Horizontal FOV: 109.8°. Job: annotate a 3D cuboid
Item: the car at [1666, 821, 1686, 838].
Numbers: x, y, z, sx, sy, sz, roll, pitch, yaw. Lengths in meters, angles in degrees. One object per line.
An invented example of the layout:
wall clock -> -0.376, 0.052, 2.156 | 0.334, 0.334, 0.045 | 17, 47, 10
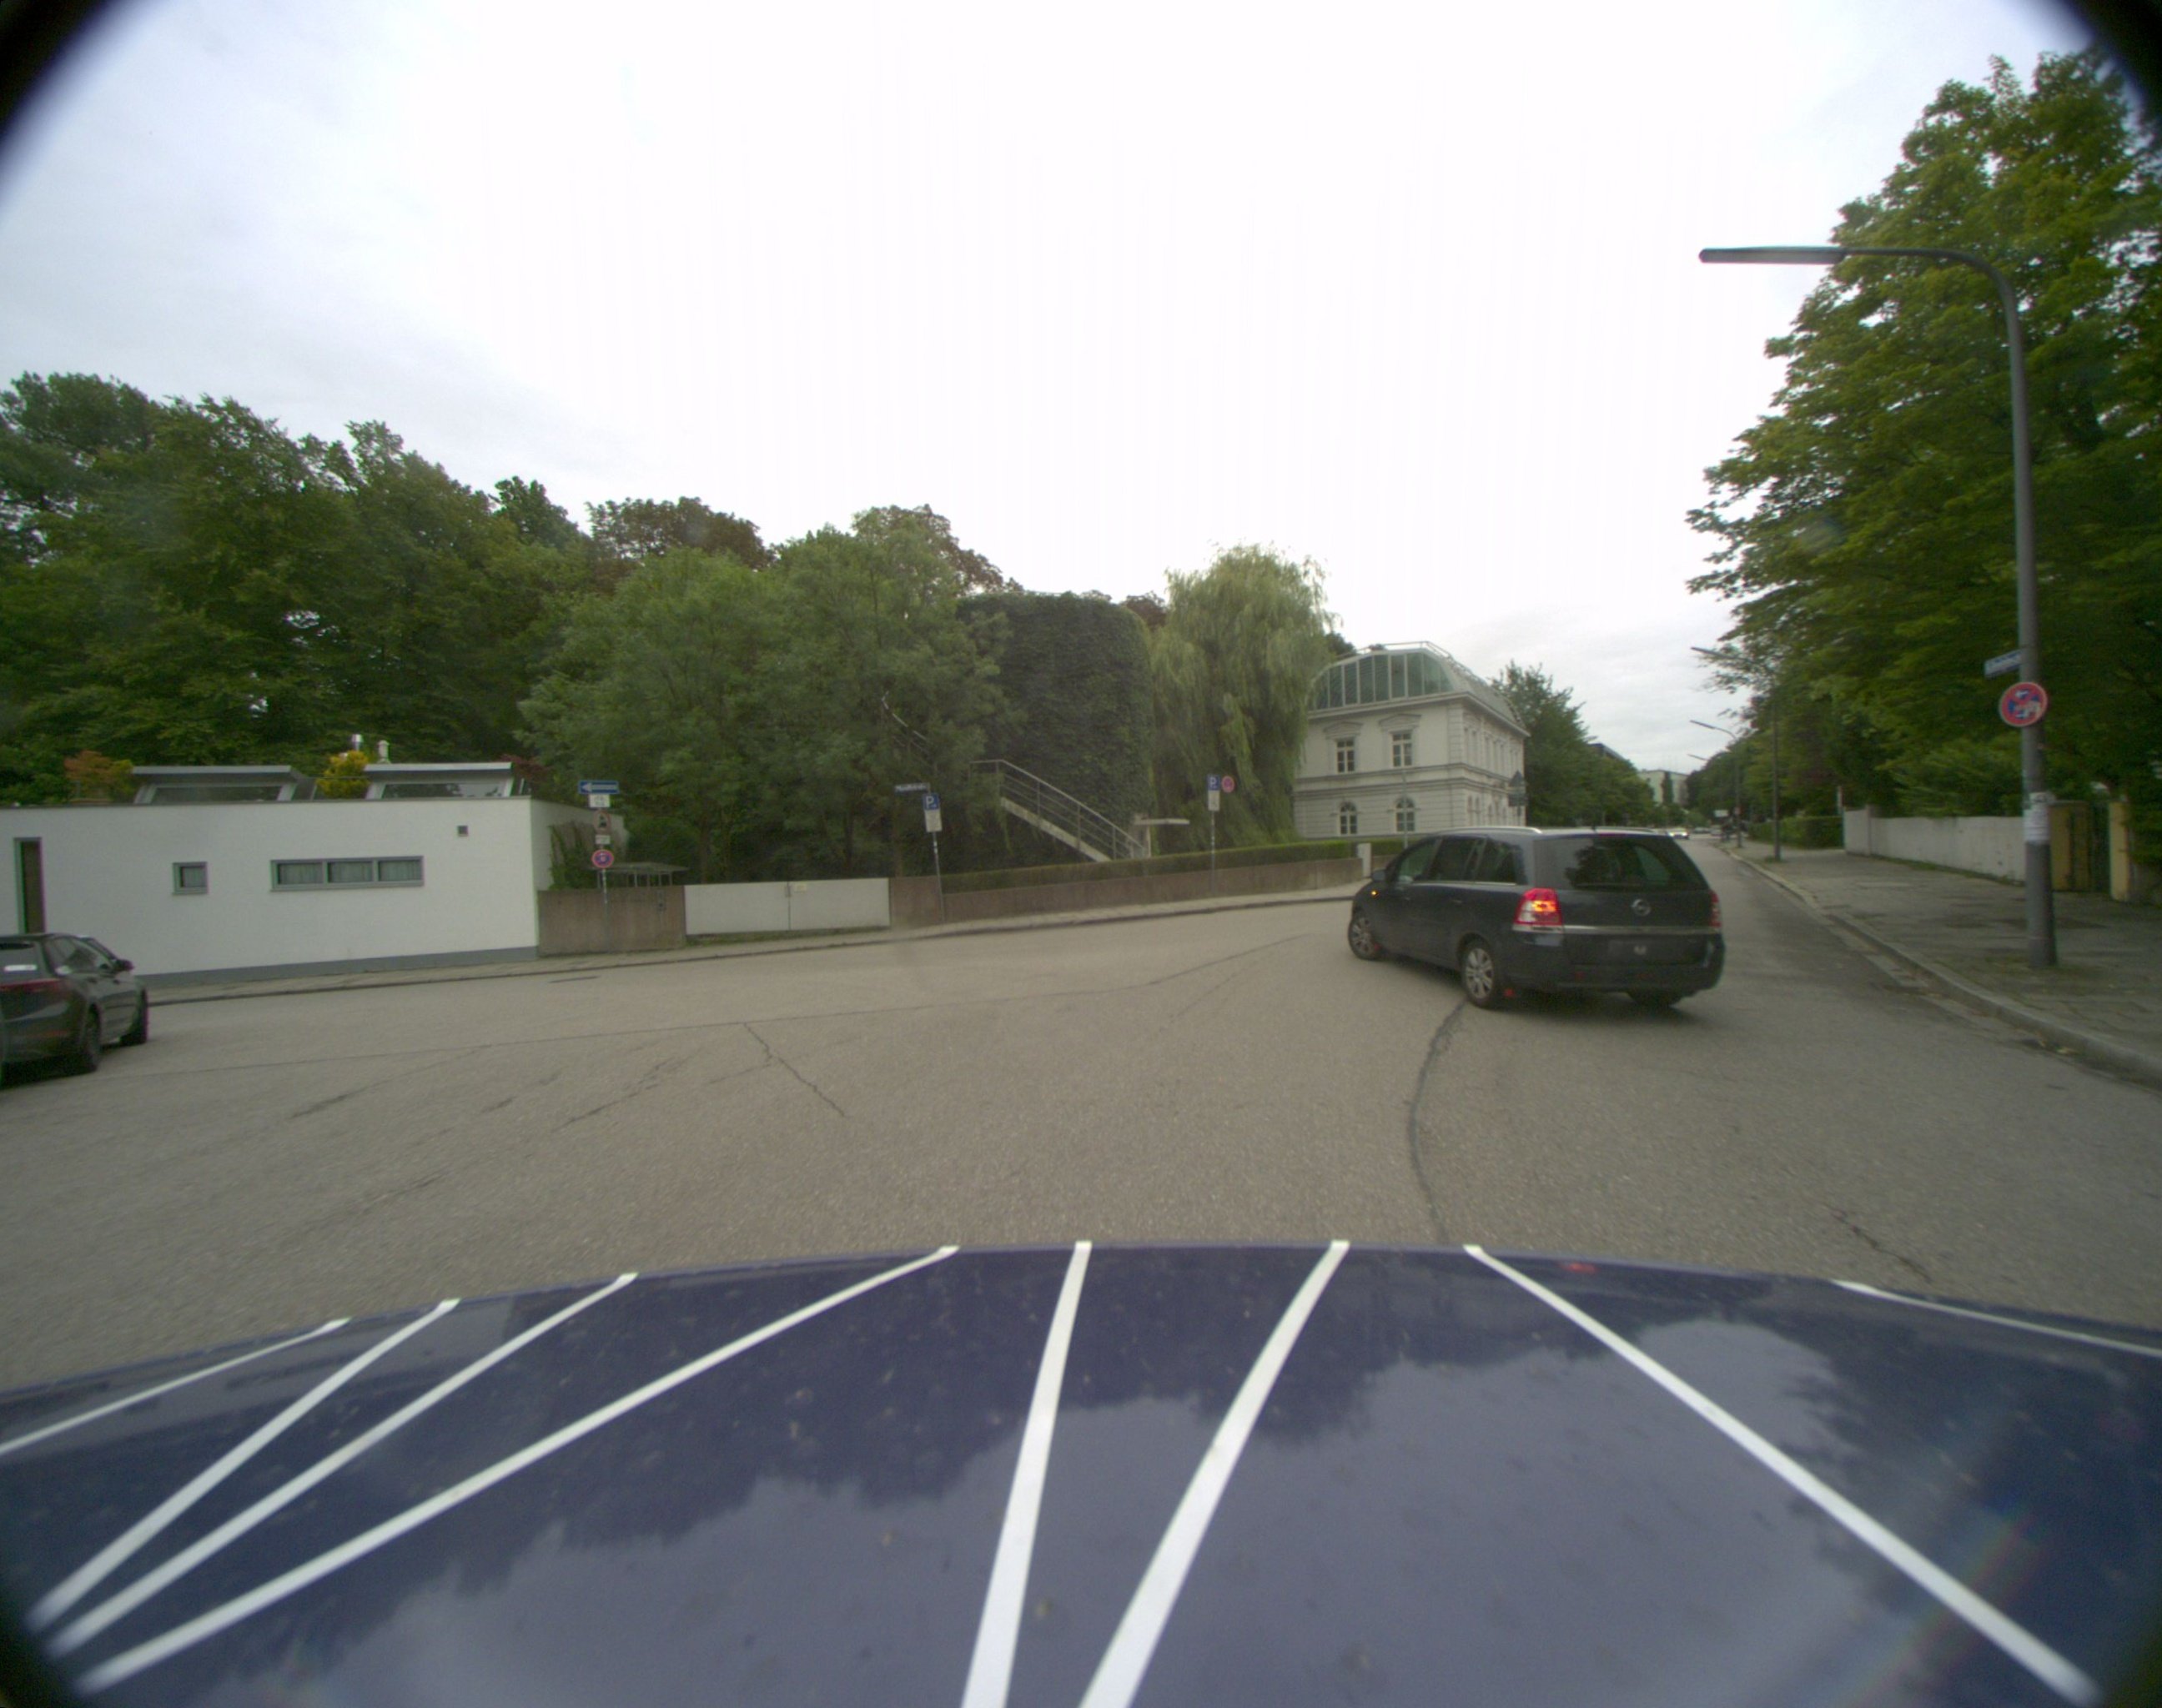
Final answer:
car -> 77.552, -3.199, 98.997 | 1.994, 2.002, 4.007 | -2, 1, 38

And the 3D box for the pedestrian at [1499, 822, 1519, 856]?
pedestrian -> 21.709, -0.773, 38.514 | 0.678, 1.696, 0.769 | -2, 2, 43

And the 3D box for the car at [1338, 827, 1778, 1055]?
car -> 4.335, 0.619, 7.911 | 1.998, 1.683, 4.334 | -2, 1, 3

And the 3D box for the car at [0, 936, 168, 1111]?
car -> -11.318, 1.713, 7.809 | 1.901, 1.438, 4.005 | -6, 0, -43

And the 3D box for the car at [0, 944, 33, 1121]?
car -> -8.868, 1.466, 4.203 | 1.900, 1.438, 4.260 | -5, 0, -29

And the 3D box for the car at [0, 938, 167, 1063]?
car -> -15.411, 2.059, 10.422 | 4.008, 1.437, 1.943 | -4, -2, 11
